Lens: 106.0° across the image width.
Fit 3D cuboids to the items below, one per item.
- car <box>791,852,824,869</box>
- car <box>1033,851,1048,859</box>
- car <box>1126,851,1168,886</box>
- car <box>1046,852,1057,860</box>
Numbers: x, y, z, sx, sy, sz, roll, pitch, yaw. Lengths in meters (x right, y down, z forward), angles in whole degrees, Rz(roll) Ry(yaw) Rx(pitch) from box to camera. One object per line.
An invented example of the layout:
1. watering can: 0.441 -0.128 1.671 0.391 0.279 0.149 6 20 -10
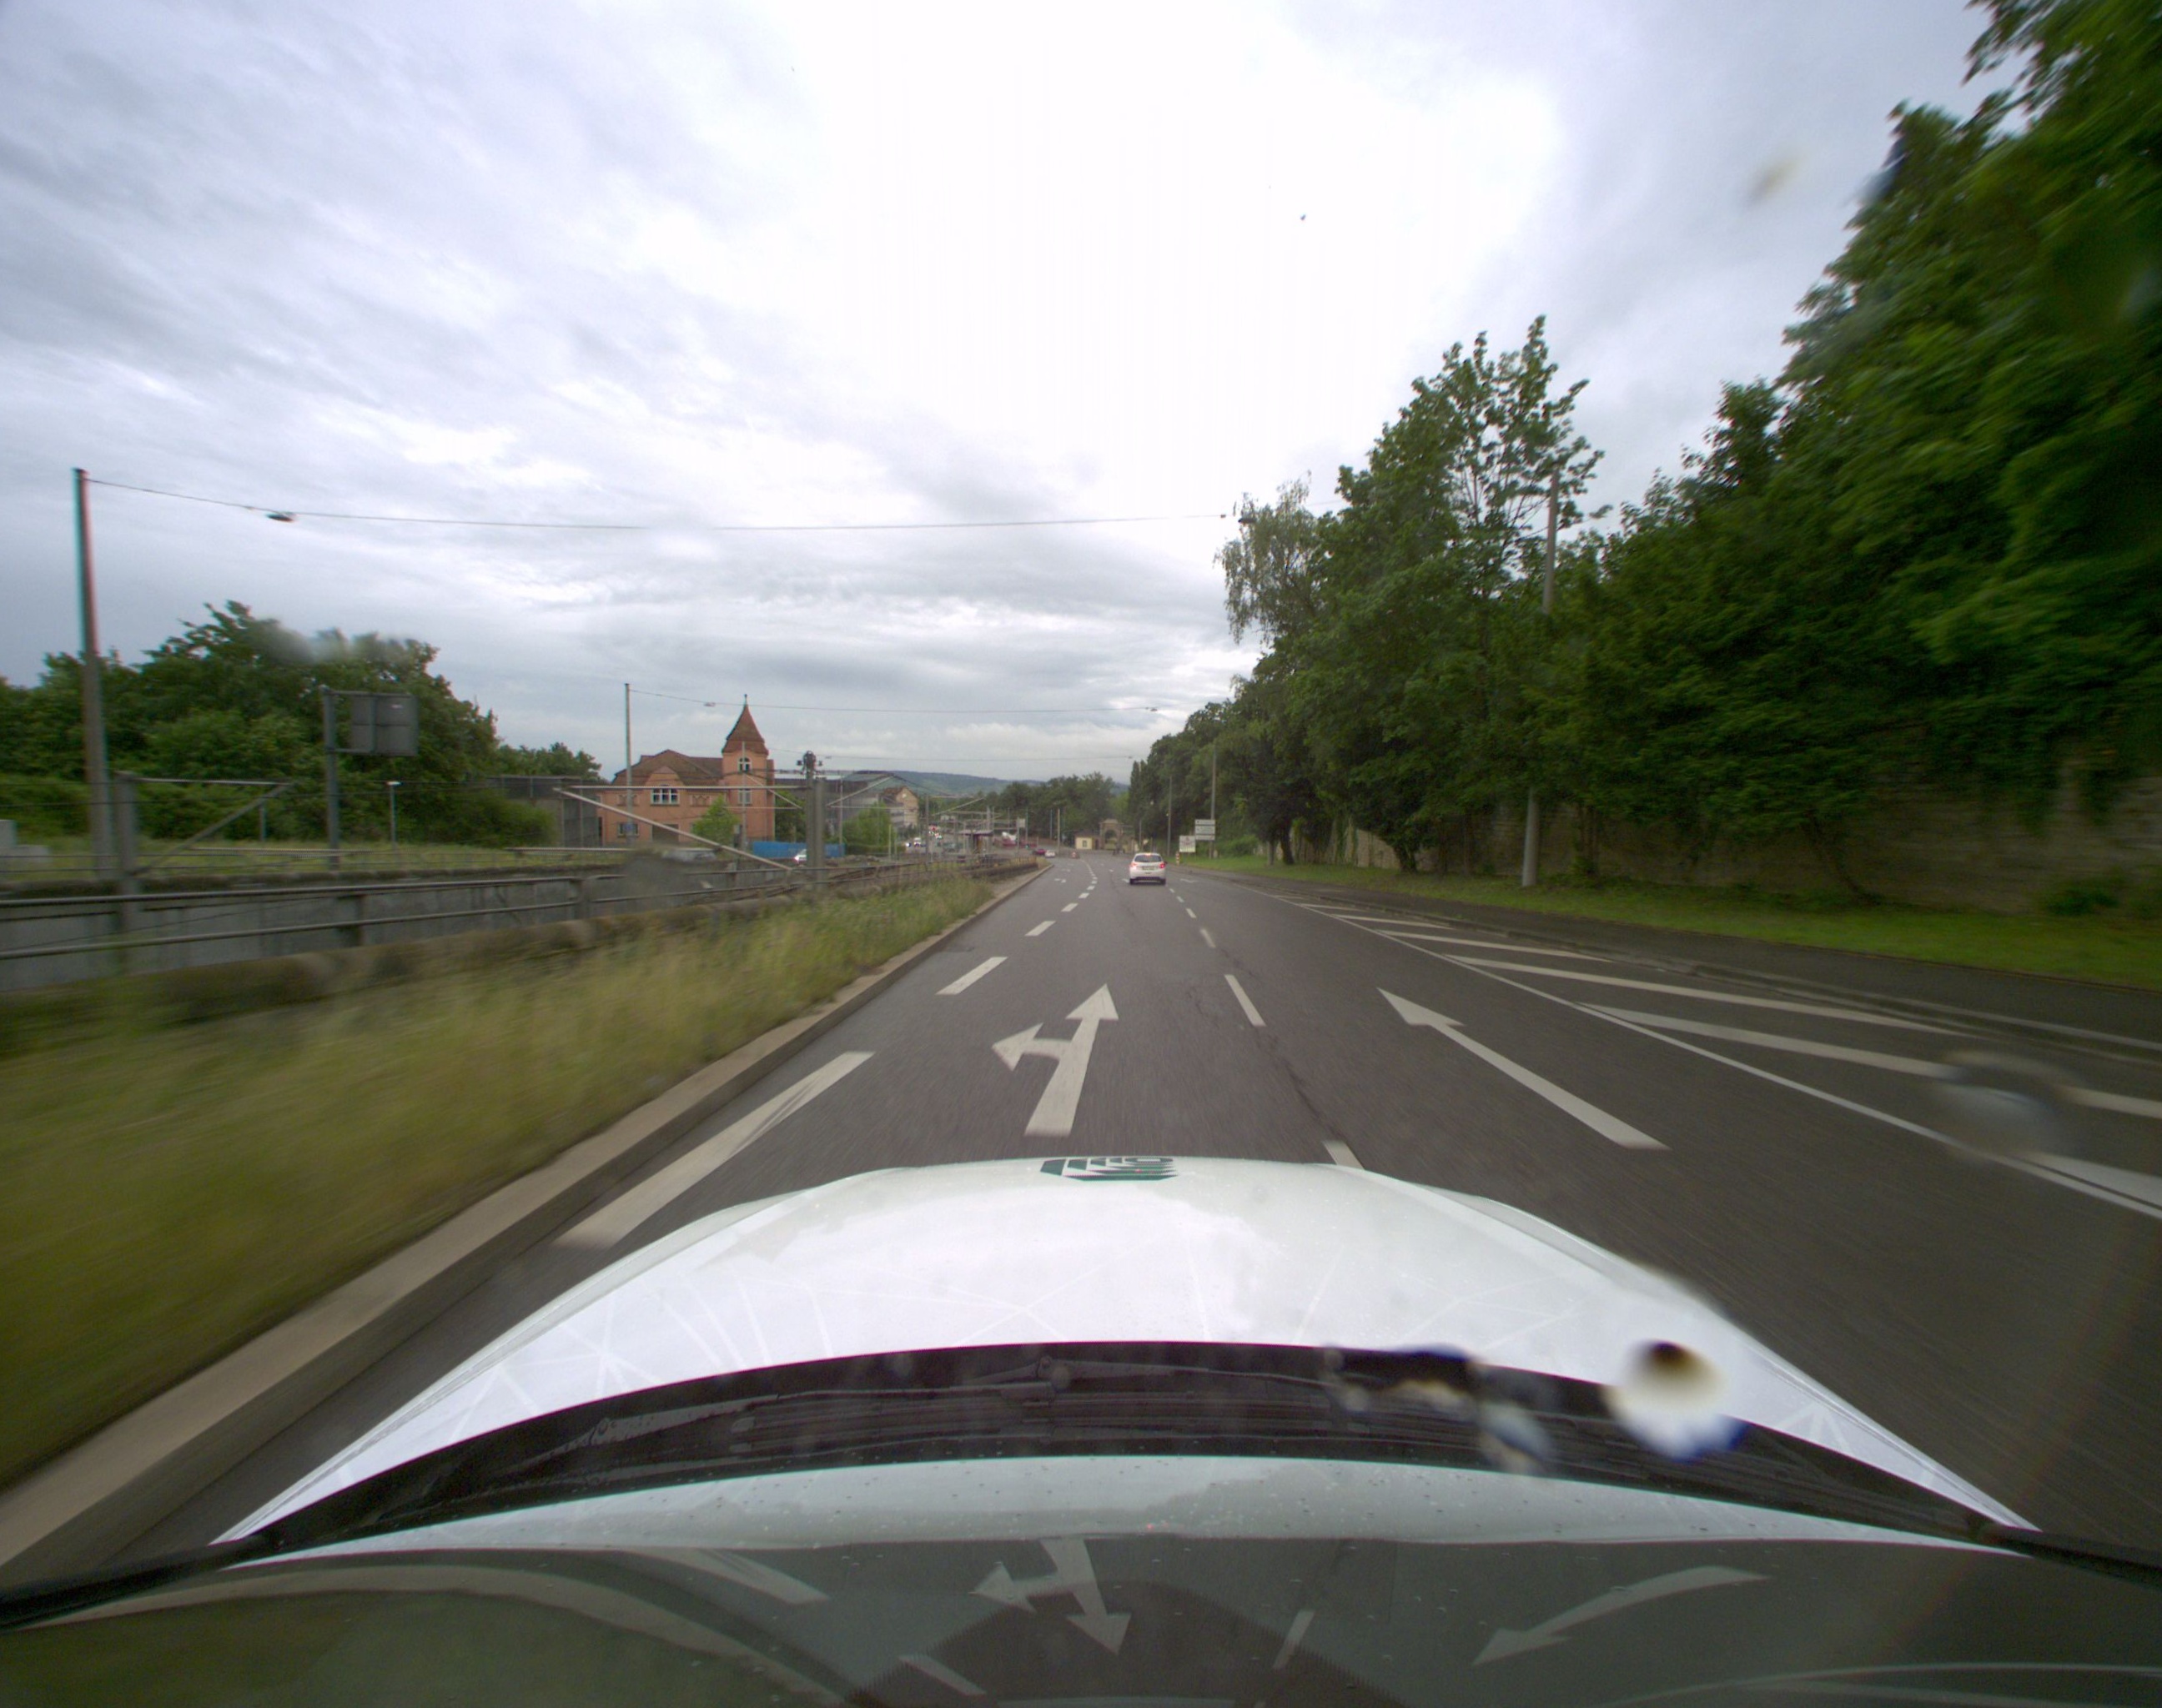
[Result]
1. car: -23.200 0.543 69.295 1.550 1.291 3.560 1 1 1
2. car: -8.779 0.253 174.842 2.002 1.705 3.970 0 1 -23
3. car: 3.139 0.651 38.842 1.860 1.511 3.904 -1 0 4
4. car: -5.922 0.375 164.101 1.816 1.606 4.001 -2 1 1
